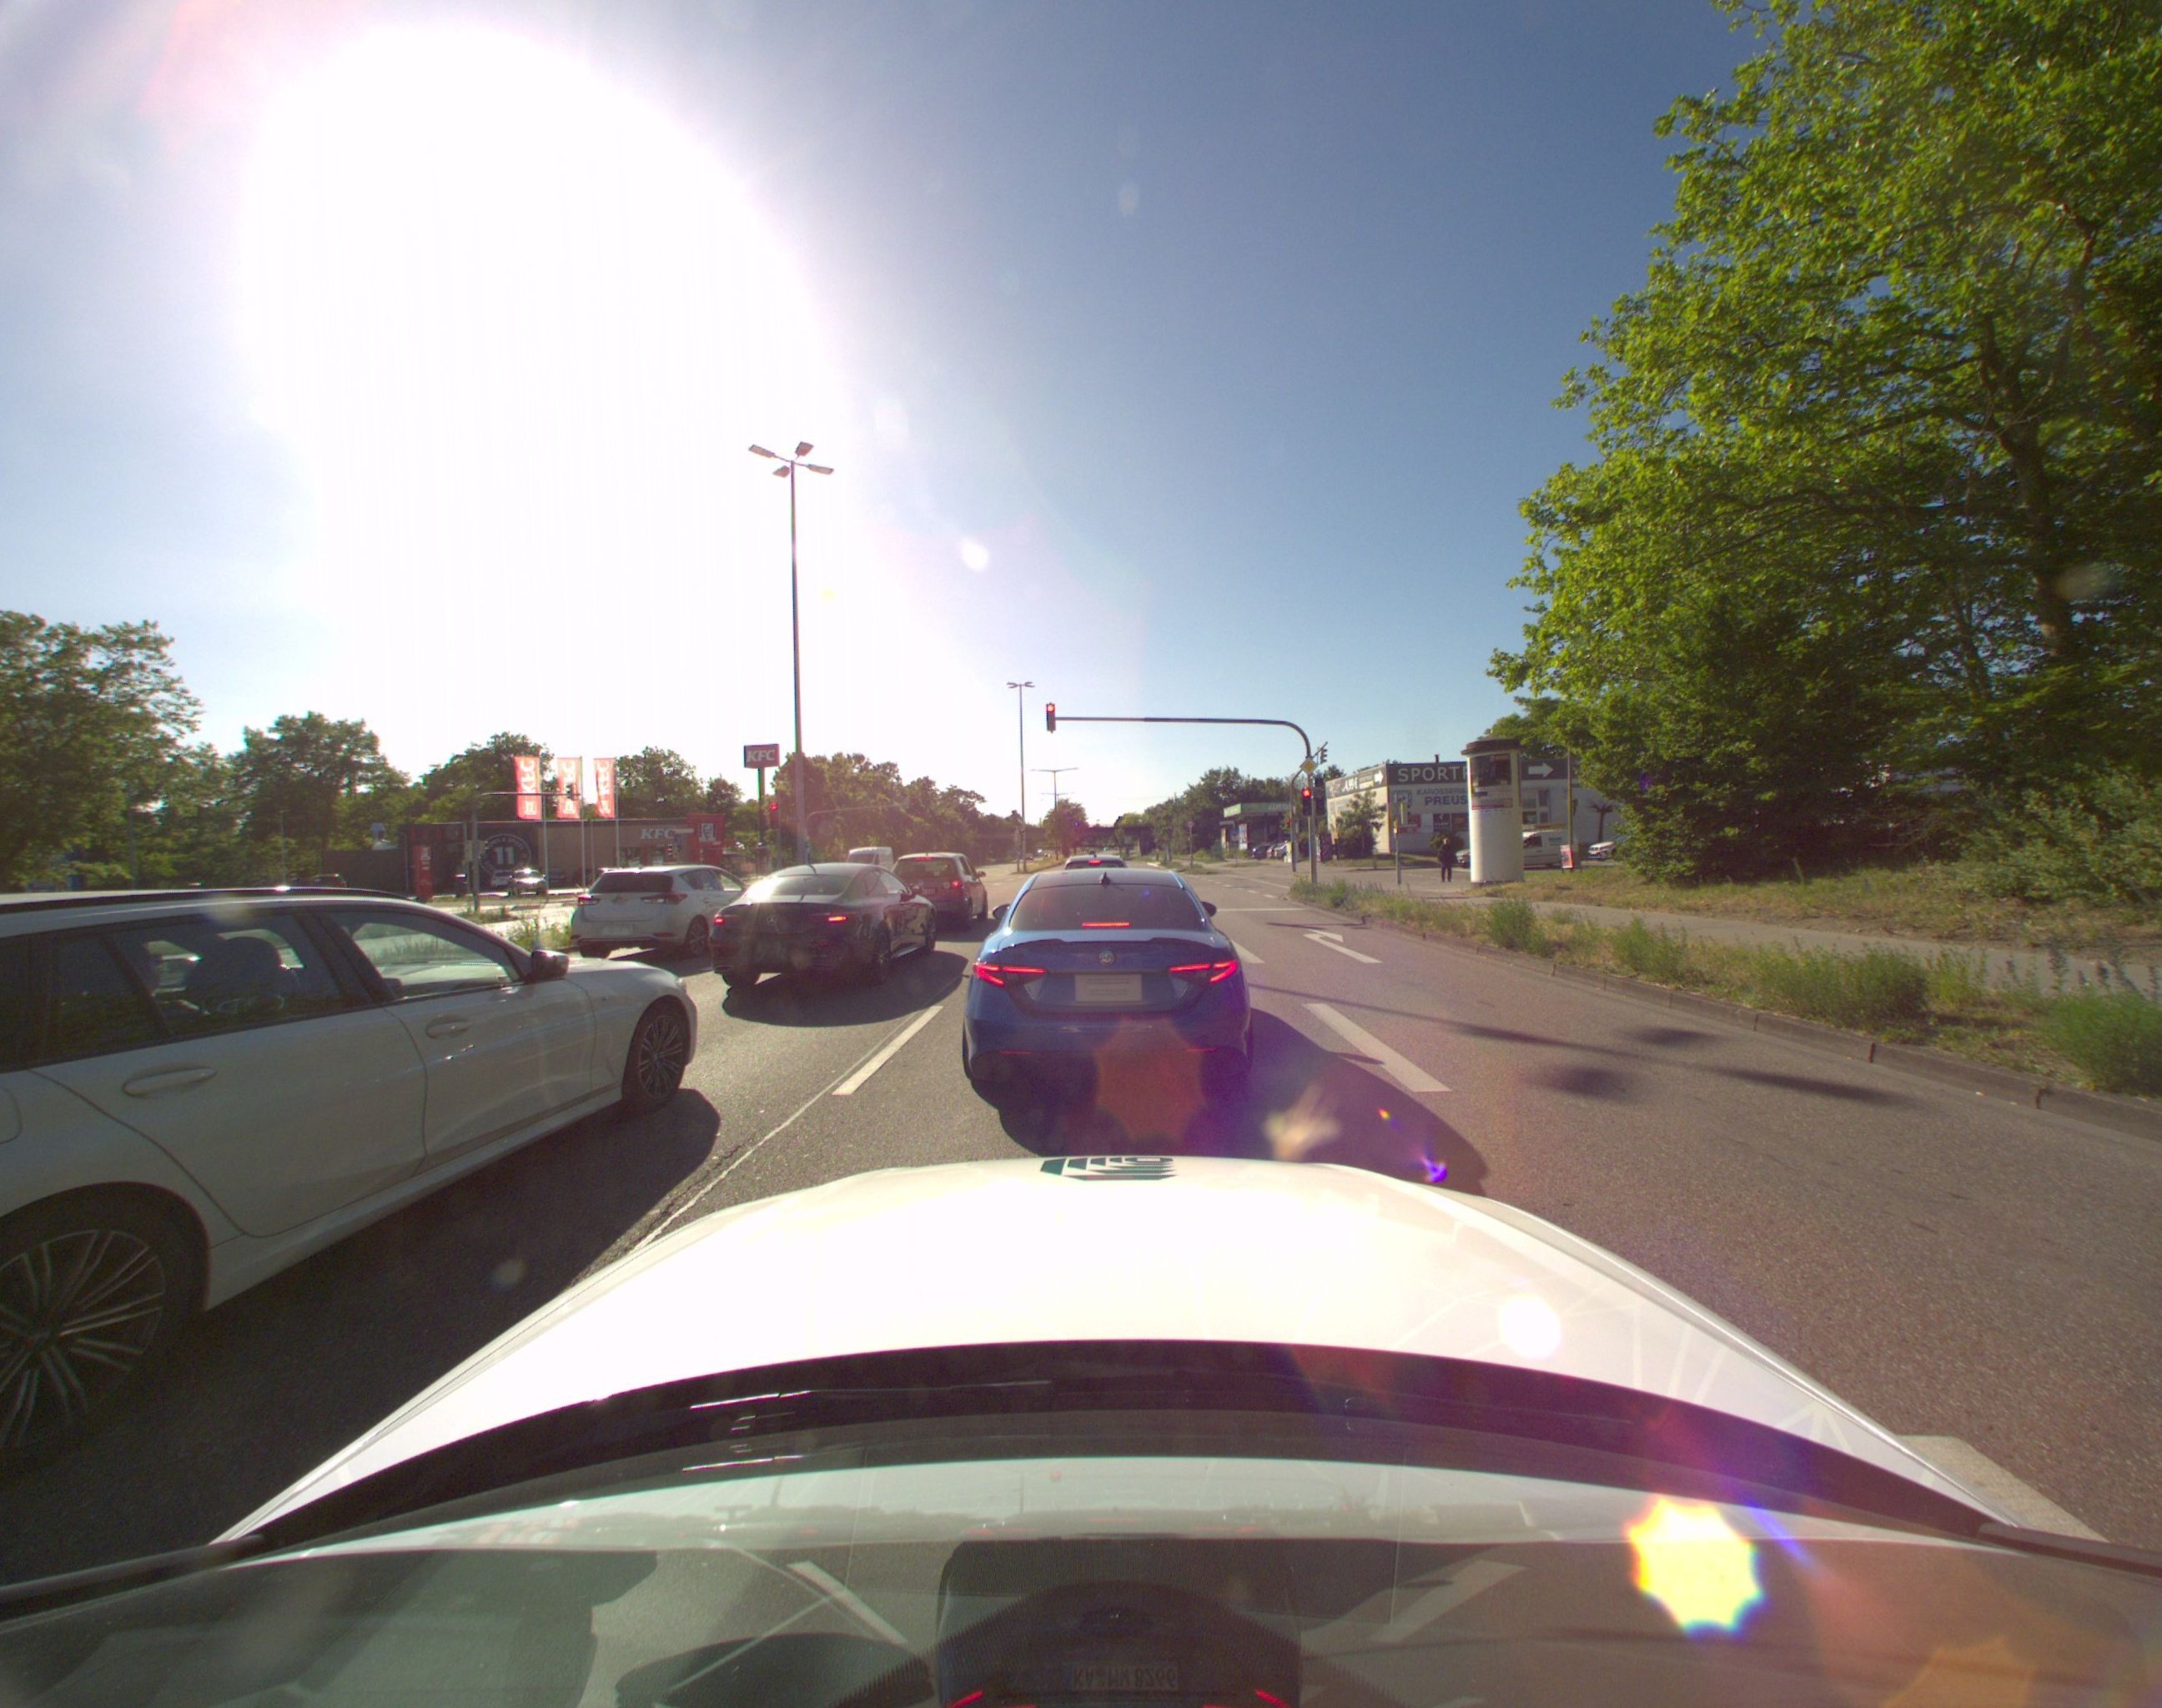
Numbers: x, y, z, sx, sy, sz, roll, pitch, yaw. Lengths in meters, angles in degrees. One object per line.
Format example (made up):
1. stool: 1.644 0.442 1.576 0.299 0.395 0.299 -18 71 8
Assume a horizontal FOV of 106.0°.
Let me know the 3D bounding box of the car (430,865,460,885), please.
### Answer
1. car: -47.644 1.561 60.987 1.670 1.471 3.872 0 -1 -40

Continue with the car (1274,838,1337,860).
1. car: 17.697 -0.414 64.323 4.470 1.454 1.860 -4 0 3

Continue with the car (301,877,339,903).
1. car: -52.377 2.460 56.092 1.670 1.673 3.897 0 -1 -40

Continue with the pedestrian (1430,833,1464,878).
1. pedestrian: 14.215 0.057 31.668 0.922 1.735 0.939 0 -1 1

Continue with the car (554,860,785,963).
1. car: -6.751 0.854 13.945 1.753 1.490 4.197 0 -1 1

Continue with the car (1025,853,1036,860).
1. car: -10.816 0.547 175.423 1.752 1.490 4.480 -3 0 2

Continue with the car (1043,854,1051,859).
1. car: -9.362 0.689 223.630 1.752 1.490 4.480 -3 0 2

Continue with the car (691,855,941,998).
1. car: -3.173 0.781 10.810 1.790 1.490 4.476 0 -1 1

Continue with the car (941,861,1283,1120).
1. car: 0.204 0.774 6.714 1.889 1.418 4.403 0 0 1

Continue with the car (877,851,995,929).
1. car: -3.028 0.716 17.912 1.753 1.490 4.403 0 -1 1

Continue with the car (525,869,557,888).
1. car: -43.152 1.954 65.057 1.670 1.471 3.872 0 -1 -40

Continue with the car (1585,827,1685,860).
1. car: 29.029 -0.529 42.764 4.028 1.490 1.782 -3 0 -1

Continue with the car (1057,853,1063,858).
1. car: -6.508 0.542 254.255 1.609 1.559 3.359 0 -1 2

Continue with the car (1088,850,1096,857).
1. car: 3.046 -0.195 224.851 1.884 1.816 4.001 0 -1 2

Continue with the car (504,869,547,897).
1. car: -37.342 1.937 54.859 2.005 1.765 4.315 0 -1 -29

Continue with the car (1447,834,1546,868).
1. car: 21.762 -0.189 42.714 4.273 1.549 1.765 -3 1 0

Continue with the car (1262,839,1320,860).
1. car: 17.980 -0.372 69.852 4.470 1.454 1.860 -4 0 3

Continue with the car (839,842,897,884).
1. car: -14.103 0.582 54.418 2.015 2.447 5.823 -5 0 1

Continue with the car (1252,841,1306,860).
1. car: 17.939 -0.343 73.907 4.470 1.454 1.860 -4 0 3

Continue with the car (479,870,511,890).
1. car: -45.644 2.022 63.403 1.670 1.471 3.872 0 -1 -40

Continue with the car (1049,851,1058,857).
1. car: -6.494 -0.002 194.015 1.752 1.490 3.839 -3 0 2

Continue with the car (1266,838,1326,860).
1. car: 17.703 -0.401 67.104 4.470 1.454 1.860 -4 0 3

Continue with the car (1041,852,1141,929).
1. car: 0.215 0.696 17.357 1.844 1.418 4.403 0 0 1

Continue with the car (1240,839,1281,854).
1. car: 21.381 -0.868 97.016 4.532 1.490 1.766 -4 0 3

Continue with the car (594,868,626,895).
1. car: -33.673 1.932 58.338 1.920 1.752 4.315 0 -1 -29

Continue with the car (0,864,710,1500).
1. car: -3.429 0.800 3.304 1.779 1.490 4.403 0 -1 1

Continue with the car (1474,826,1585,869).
1. car: 21.631 -0.335 39.380 4.367 1.801 1.765 -3 1 0
